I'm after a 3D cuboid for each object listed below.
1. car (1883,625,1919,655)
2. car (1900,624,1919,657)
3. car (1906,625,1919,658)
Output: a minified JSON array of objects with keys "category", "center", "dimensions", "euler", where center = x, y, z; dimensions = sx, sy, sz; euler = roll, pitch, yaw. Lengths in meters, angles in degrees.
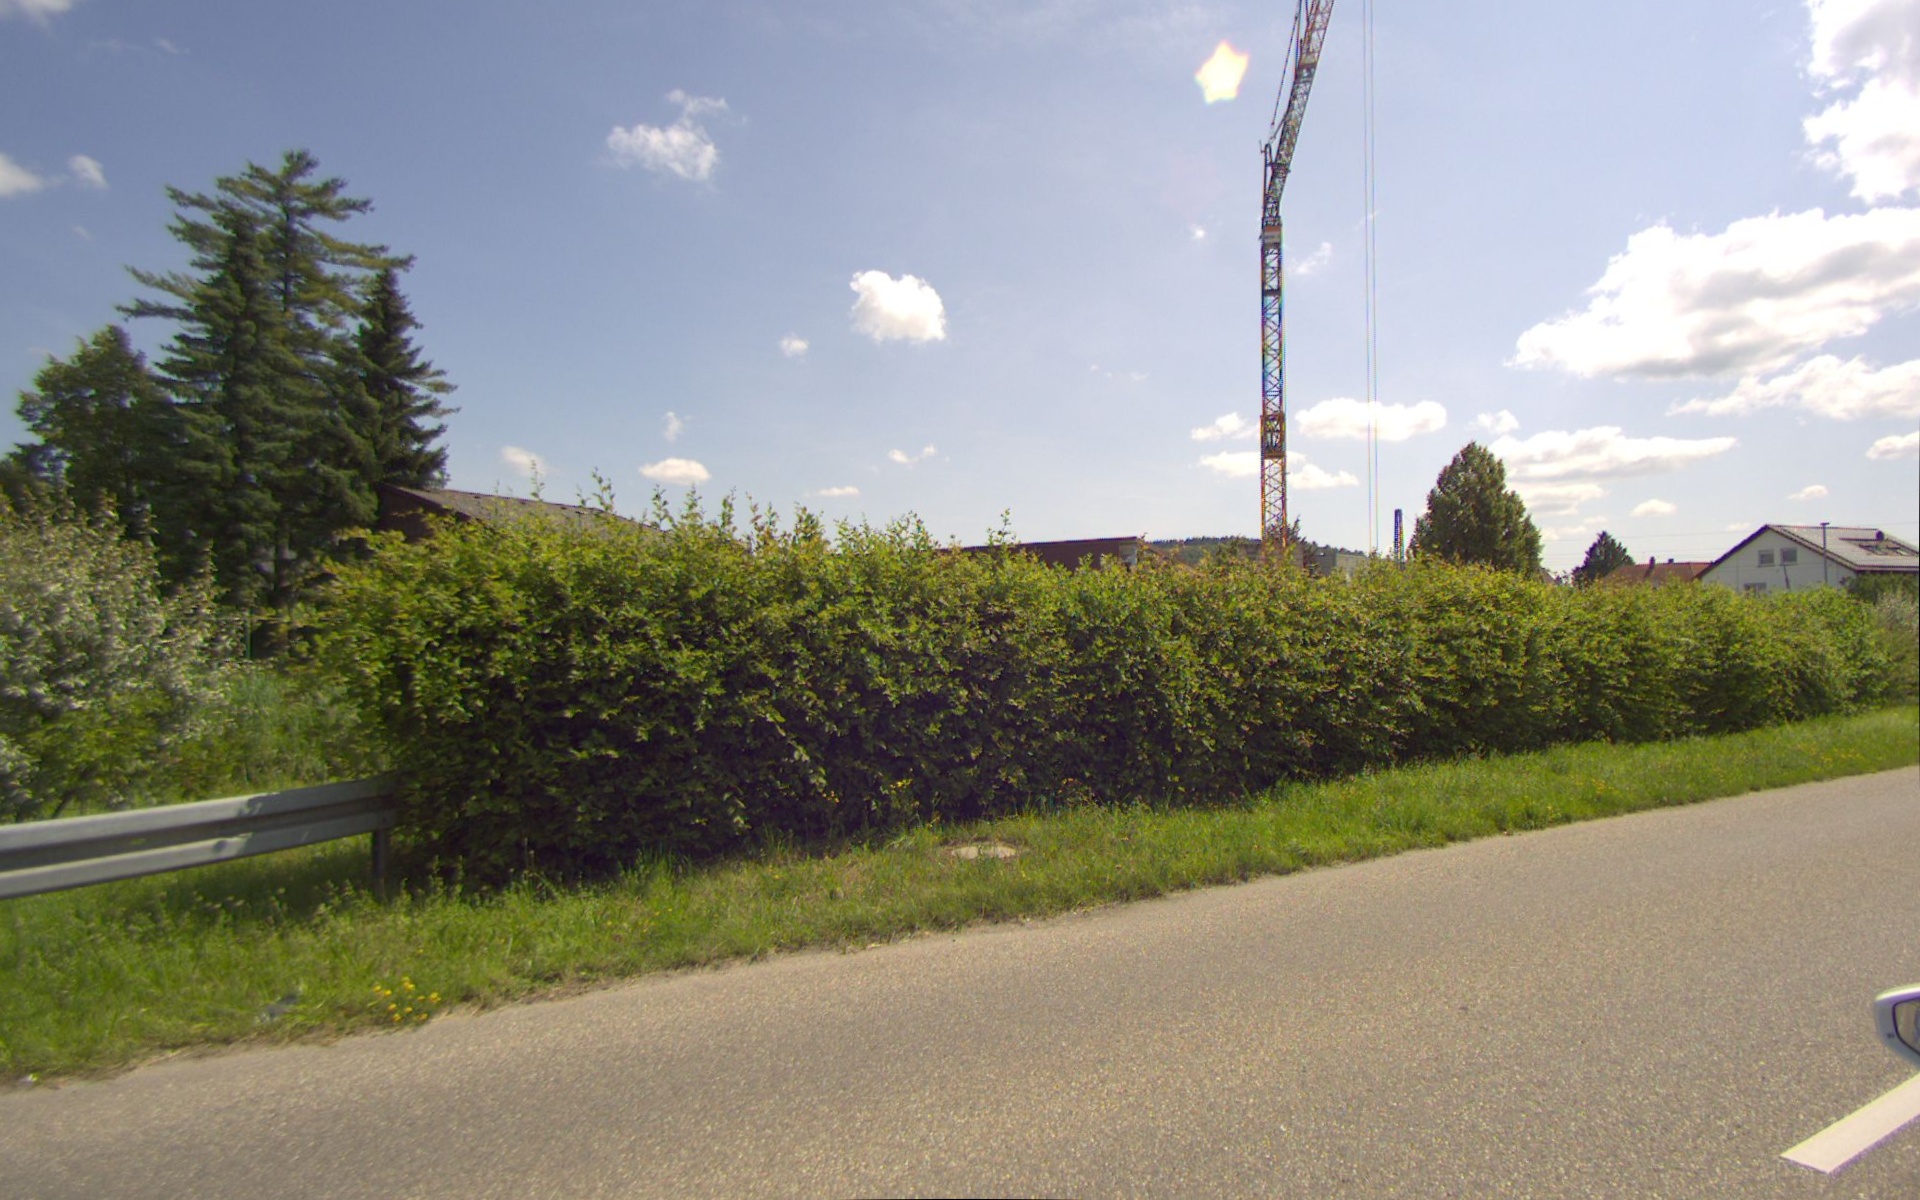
[{"category":"car","center":[51.632,2.126,53.321],"dimensions":[1.683,1.579,3.747],"euler":[1,-3,-43]},{"category":"car","center":[50.465,1.986,50.836],"dimensions":[4.117,1.660,1.944],"euler":[-4,-4,43]},{"category":"car","center":[48.930,2.029,49.023],"dimensions":[3.956,1.582,1.813],"euler":[-2,-2,42]}]
